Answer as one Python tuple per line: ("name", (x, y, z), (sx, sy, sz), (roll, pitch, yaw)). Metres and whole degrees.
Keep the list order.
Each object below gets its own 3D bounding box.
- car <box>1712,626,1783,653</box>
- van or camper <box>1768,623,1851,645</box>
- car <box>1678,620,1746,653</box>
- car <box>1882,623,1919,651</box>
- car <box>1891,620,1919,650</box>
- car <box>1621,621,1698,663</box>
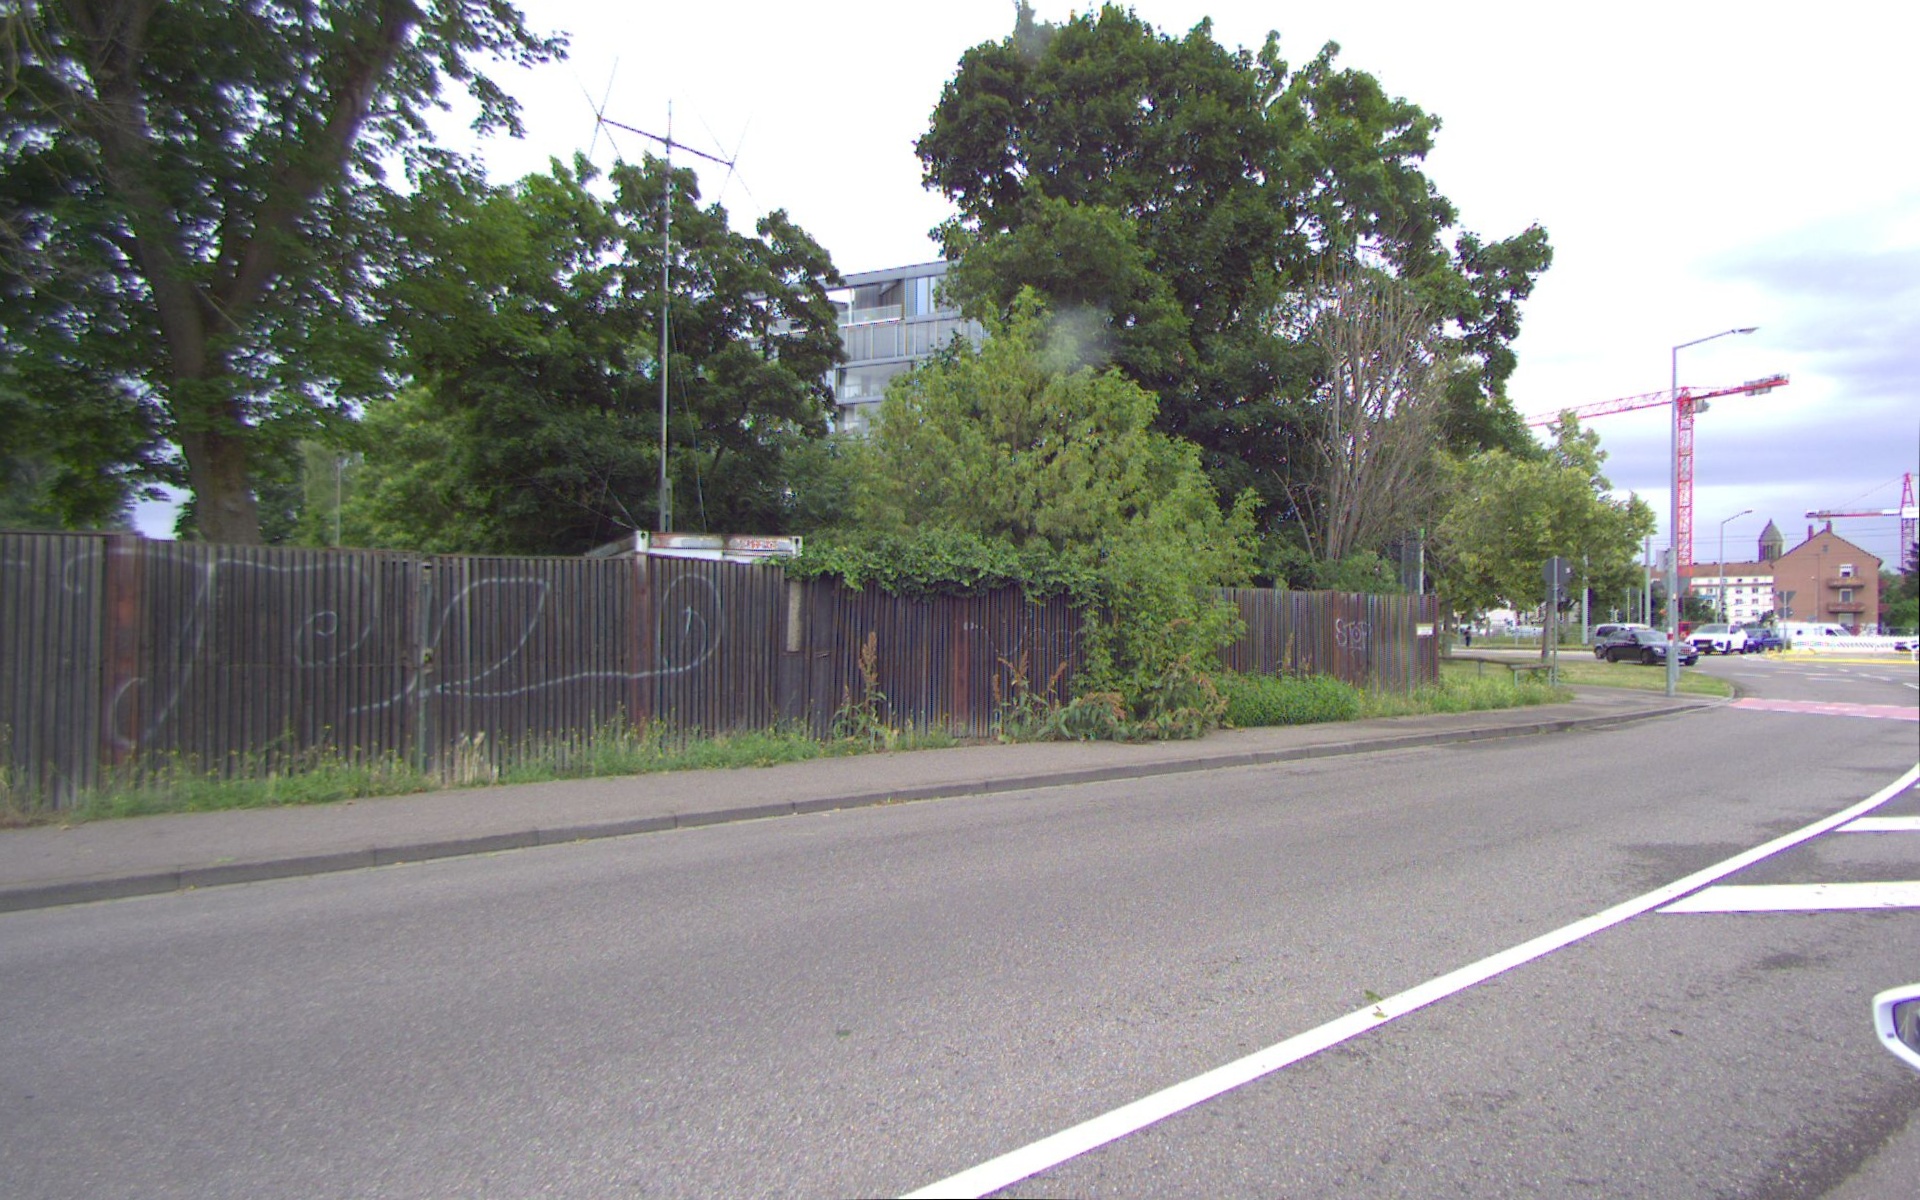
("car", (45.674, 2.251, 58.227), (3.953, 1.509, 1.922), (1, -1, -30))
("van or camper", (83.947, 3.316, 99.368), (1.969, 2.040, 6.171), (1, -1, -19))
("car", (40.599, 1.956, 54.205), (4.152, 1.706, 1.916), (1, -1, -38))
("car", (59.009, 2.229, 60.694), (4.580, 1.656, 2.001), (0, -1, 5))
("car", (66.618, 2.416, 68.350), (4.399, 2.040, 1.996), (0, -1, 30))
("car", (29.676, 1.754, 42.742), (1.962, 1.706, 3.997), (0, -1, 24))
